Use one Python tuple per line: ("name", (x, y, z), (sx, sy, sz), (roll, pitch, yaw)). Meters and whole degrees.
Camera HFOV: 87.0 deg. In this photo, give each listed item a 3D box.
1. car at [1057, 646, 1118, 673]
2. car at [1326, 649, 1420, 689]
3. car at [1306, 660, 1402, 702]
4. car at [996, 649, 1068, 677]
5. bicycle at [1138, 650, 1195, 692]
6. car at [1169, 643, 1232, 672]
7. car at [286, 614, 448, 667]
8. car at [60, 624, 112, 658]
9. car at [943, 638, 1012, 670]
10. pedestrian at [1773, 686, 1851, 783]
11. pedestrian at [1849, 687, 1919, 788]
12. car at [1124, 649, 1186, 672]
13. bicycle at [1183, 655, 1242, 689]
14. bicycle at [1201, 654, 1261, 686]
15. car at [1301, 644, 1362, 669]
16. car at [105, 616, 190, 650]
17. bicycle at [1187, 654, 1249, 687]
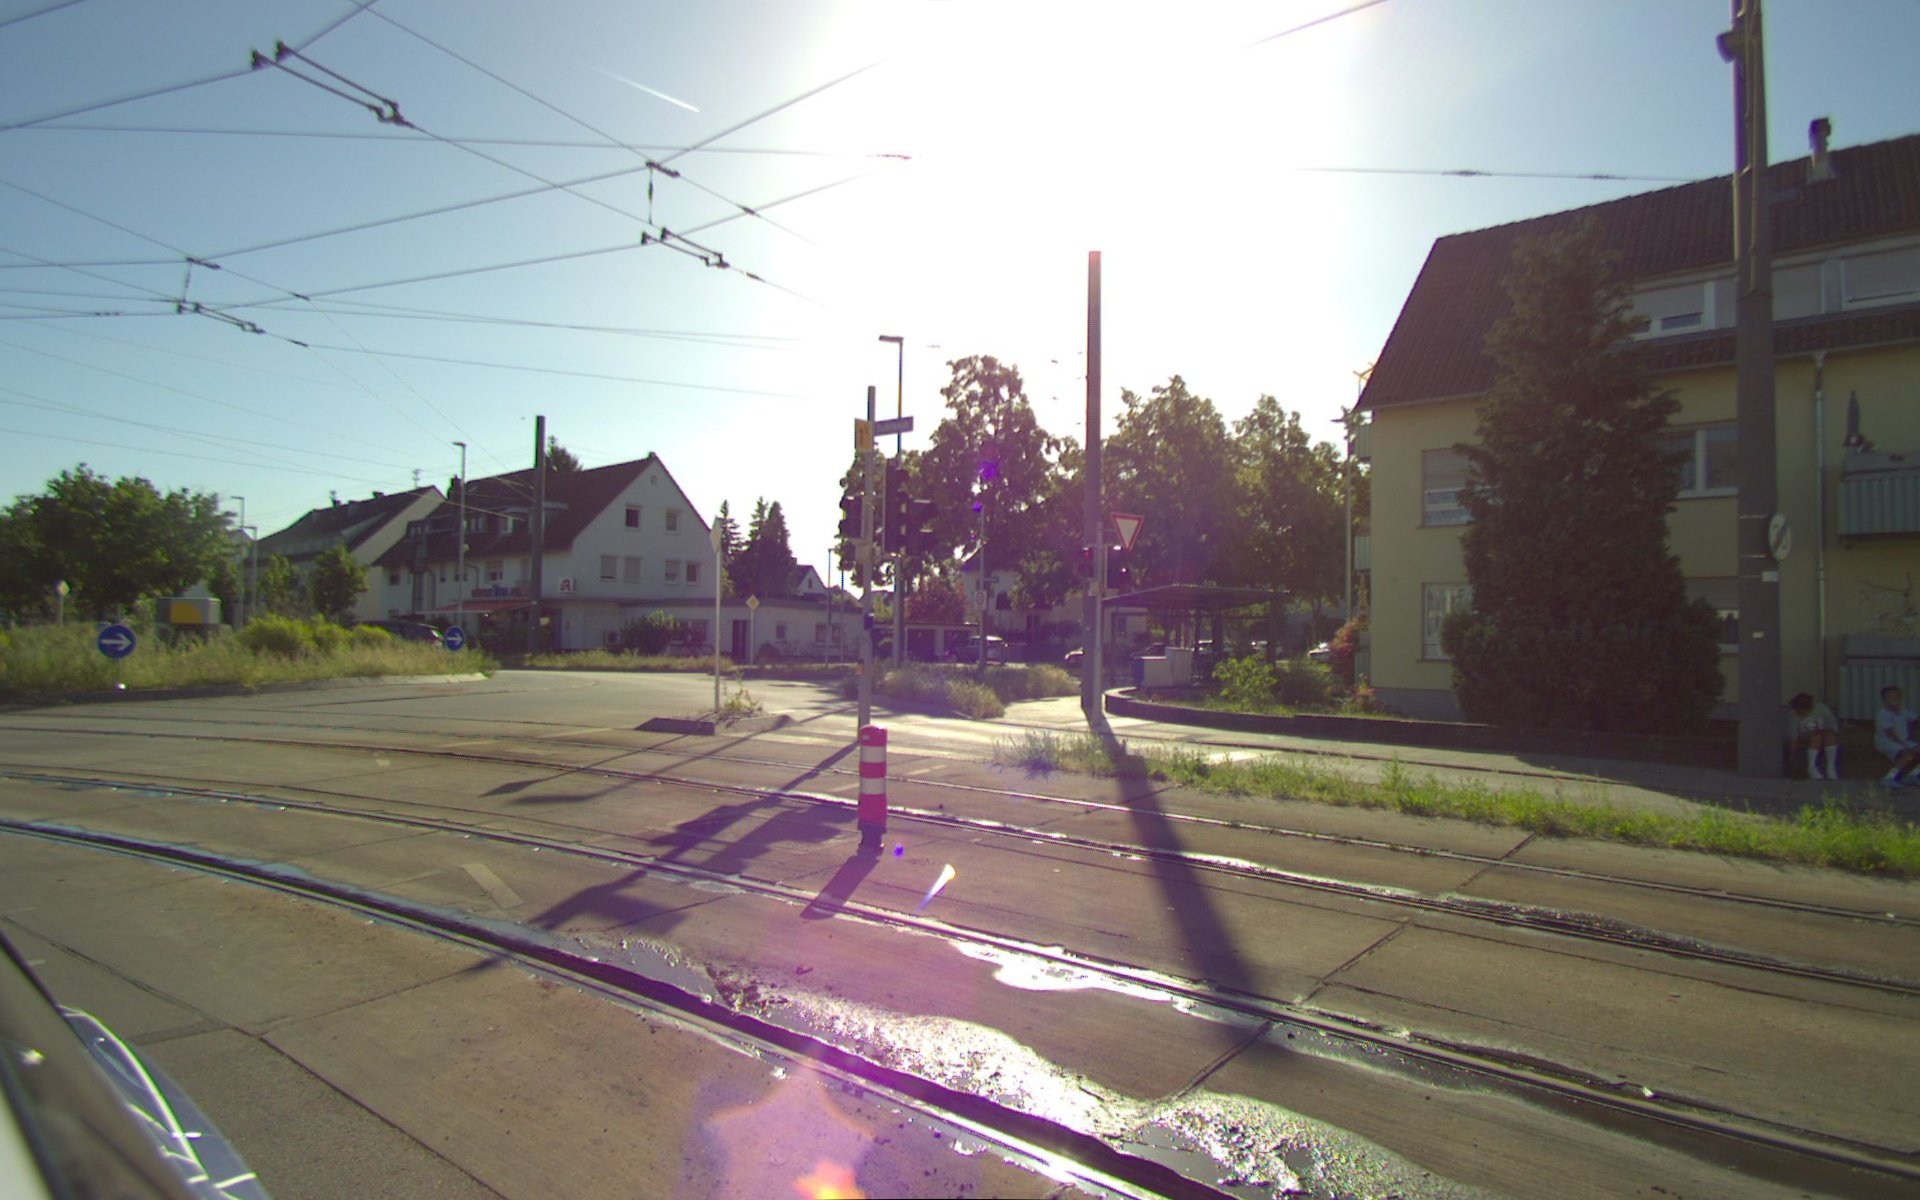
("car", (7.520, 3.502, 59.602), (1.804, 1.475, 3.750), (1, -2, 40))
("car", (18.216, 3.004, 44.752), (1.553, 1.545, 3.533), (3, -2, -41))
("car", (16.921, 3.437, 43.588), (1.553, 1.545, 3.533), (3, -2, -41))
("car", (3.798, 3.297, 53.176), (1.600, 1.375, 3.942), (1, -2, 44))
("bicycle", (6.632, 2.271, 32.516), (0.679, 1.217, 1.672), (3, -2, -45))
("car", (15.841, 3.774, 66.519), (4.153, 1.712, 2.002), (3, -2, -43))
("car", (-19.912, 1.366, 34.202), (4.364, 1.592, 1.842), (3, -1, -18))
("car", (-58.067, 2.701, 67.215), (4.368, 2.030, 1.871), (1, -2, 40))
("car", (1.026, 3.268, 61.538), (1.968, 1.707, 4.057), (3, -2, -40))
("pedestrian", (10.214, 1.585, 12.162), (0.687, 1.054, 0.809), (0, -2, 39))
("pedestrian", (10.916, 1.576, 11.680), (0.619, 1.073, 0.818), (2, -1, 8))
("car", (12.256, 3.780, 63.416), (1.968, 1.334, 3.942), (1, -2, 44))
("bicycle", (8.574, 2.447, 34.464), (0.679, 1.035, 1.848), (3, -2, -45))
("bicycle", (9.640, 2.476, 36.003), (0.679, 1.035, 1.981), (3, -2, -45))
("car", (28.312, 4.304, 77.000), (4.978, 1.786, 2.004), (3, -2, -38))
("car", (-41.336, 1.679, 51.548), (3.025, 1.632, 1.415), (3, -1, -20))
("bicycle", (8.991, 2.444, 35.315), (0.686, 1.035, 1.981), (3, -2, -45))
